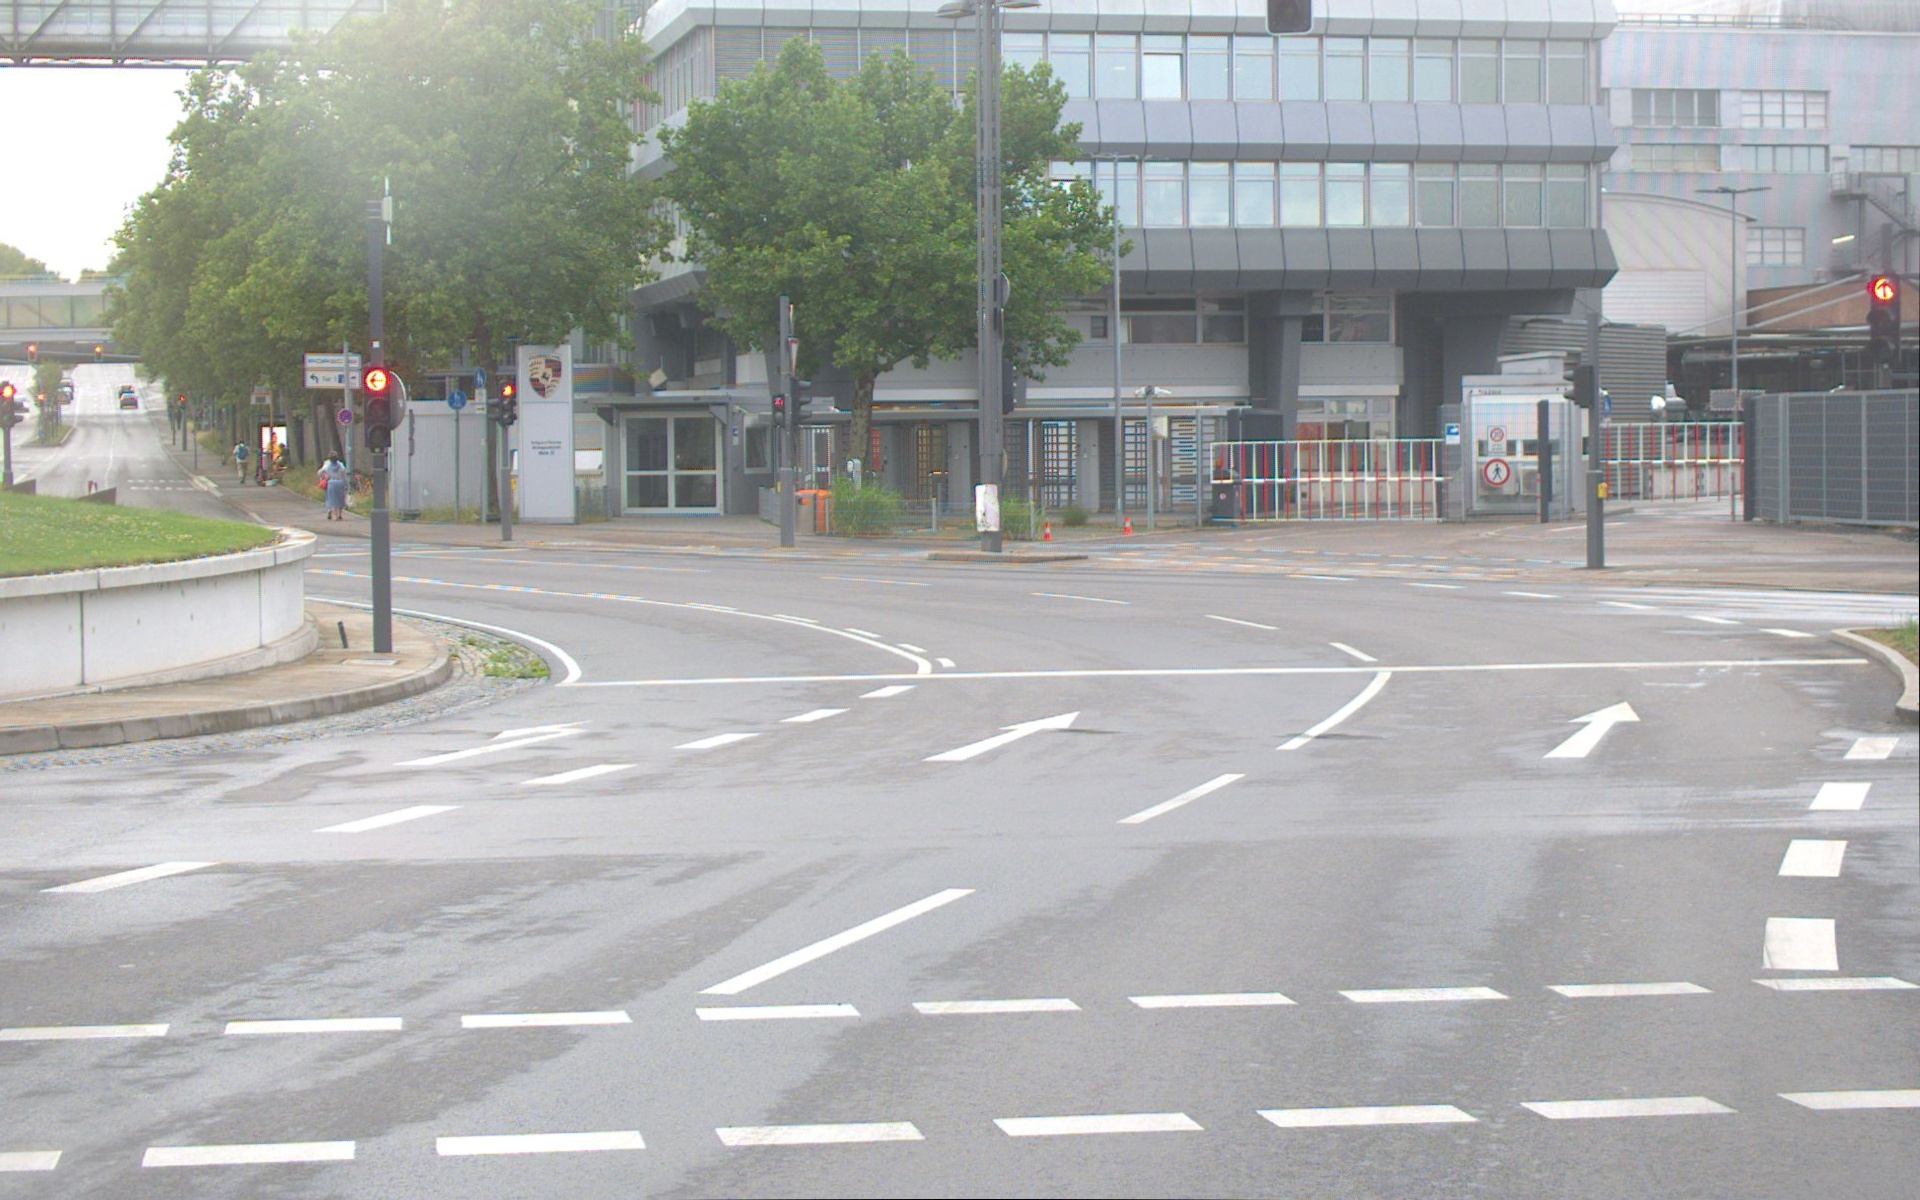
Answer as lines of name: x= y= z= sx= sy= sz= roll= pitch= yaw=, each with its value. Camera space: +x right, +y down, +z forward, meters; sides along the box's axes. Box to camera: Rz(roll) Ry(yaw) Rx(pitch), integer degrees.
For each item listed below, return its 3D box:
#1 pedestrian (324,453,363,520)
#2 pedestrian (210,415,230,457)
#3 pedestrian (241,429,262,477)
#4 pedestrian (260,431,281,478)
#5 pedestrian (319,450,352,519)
pedestrian: x=-14.238 y=-2.632 z=79.398 sx=0.831 sy=1.515 sz=0.842 roll=-1 pitch=3 yaw=-11
pedestrian: x=-35.693 y=-7.929 z=165.898 sx=0.765 sy=2.006 sz=0.692 roll=0 pitch=2 yaw=3
pedestrian: x=-26.303 y=-5.440 z=127.608 sx=0.711 sy=1.734 sz=0.760 roll=1 pitch=0 yaw=-14
pedestrian: x=-26.119 y=-5.501 z=130.245 sx=0.757 sy=1.734 sz=0.714 roll=1 pitch=0 yaw=-10
pedestrian: x=-14.624 y=-2.721 z=80.559 sx=0.709 sy=1.586 sz=0.841 roll=-1 pitch=3 yaw=-9
